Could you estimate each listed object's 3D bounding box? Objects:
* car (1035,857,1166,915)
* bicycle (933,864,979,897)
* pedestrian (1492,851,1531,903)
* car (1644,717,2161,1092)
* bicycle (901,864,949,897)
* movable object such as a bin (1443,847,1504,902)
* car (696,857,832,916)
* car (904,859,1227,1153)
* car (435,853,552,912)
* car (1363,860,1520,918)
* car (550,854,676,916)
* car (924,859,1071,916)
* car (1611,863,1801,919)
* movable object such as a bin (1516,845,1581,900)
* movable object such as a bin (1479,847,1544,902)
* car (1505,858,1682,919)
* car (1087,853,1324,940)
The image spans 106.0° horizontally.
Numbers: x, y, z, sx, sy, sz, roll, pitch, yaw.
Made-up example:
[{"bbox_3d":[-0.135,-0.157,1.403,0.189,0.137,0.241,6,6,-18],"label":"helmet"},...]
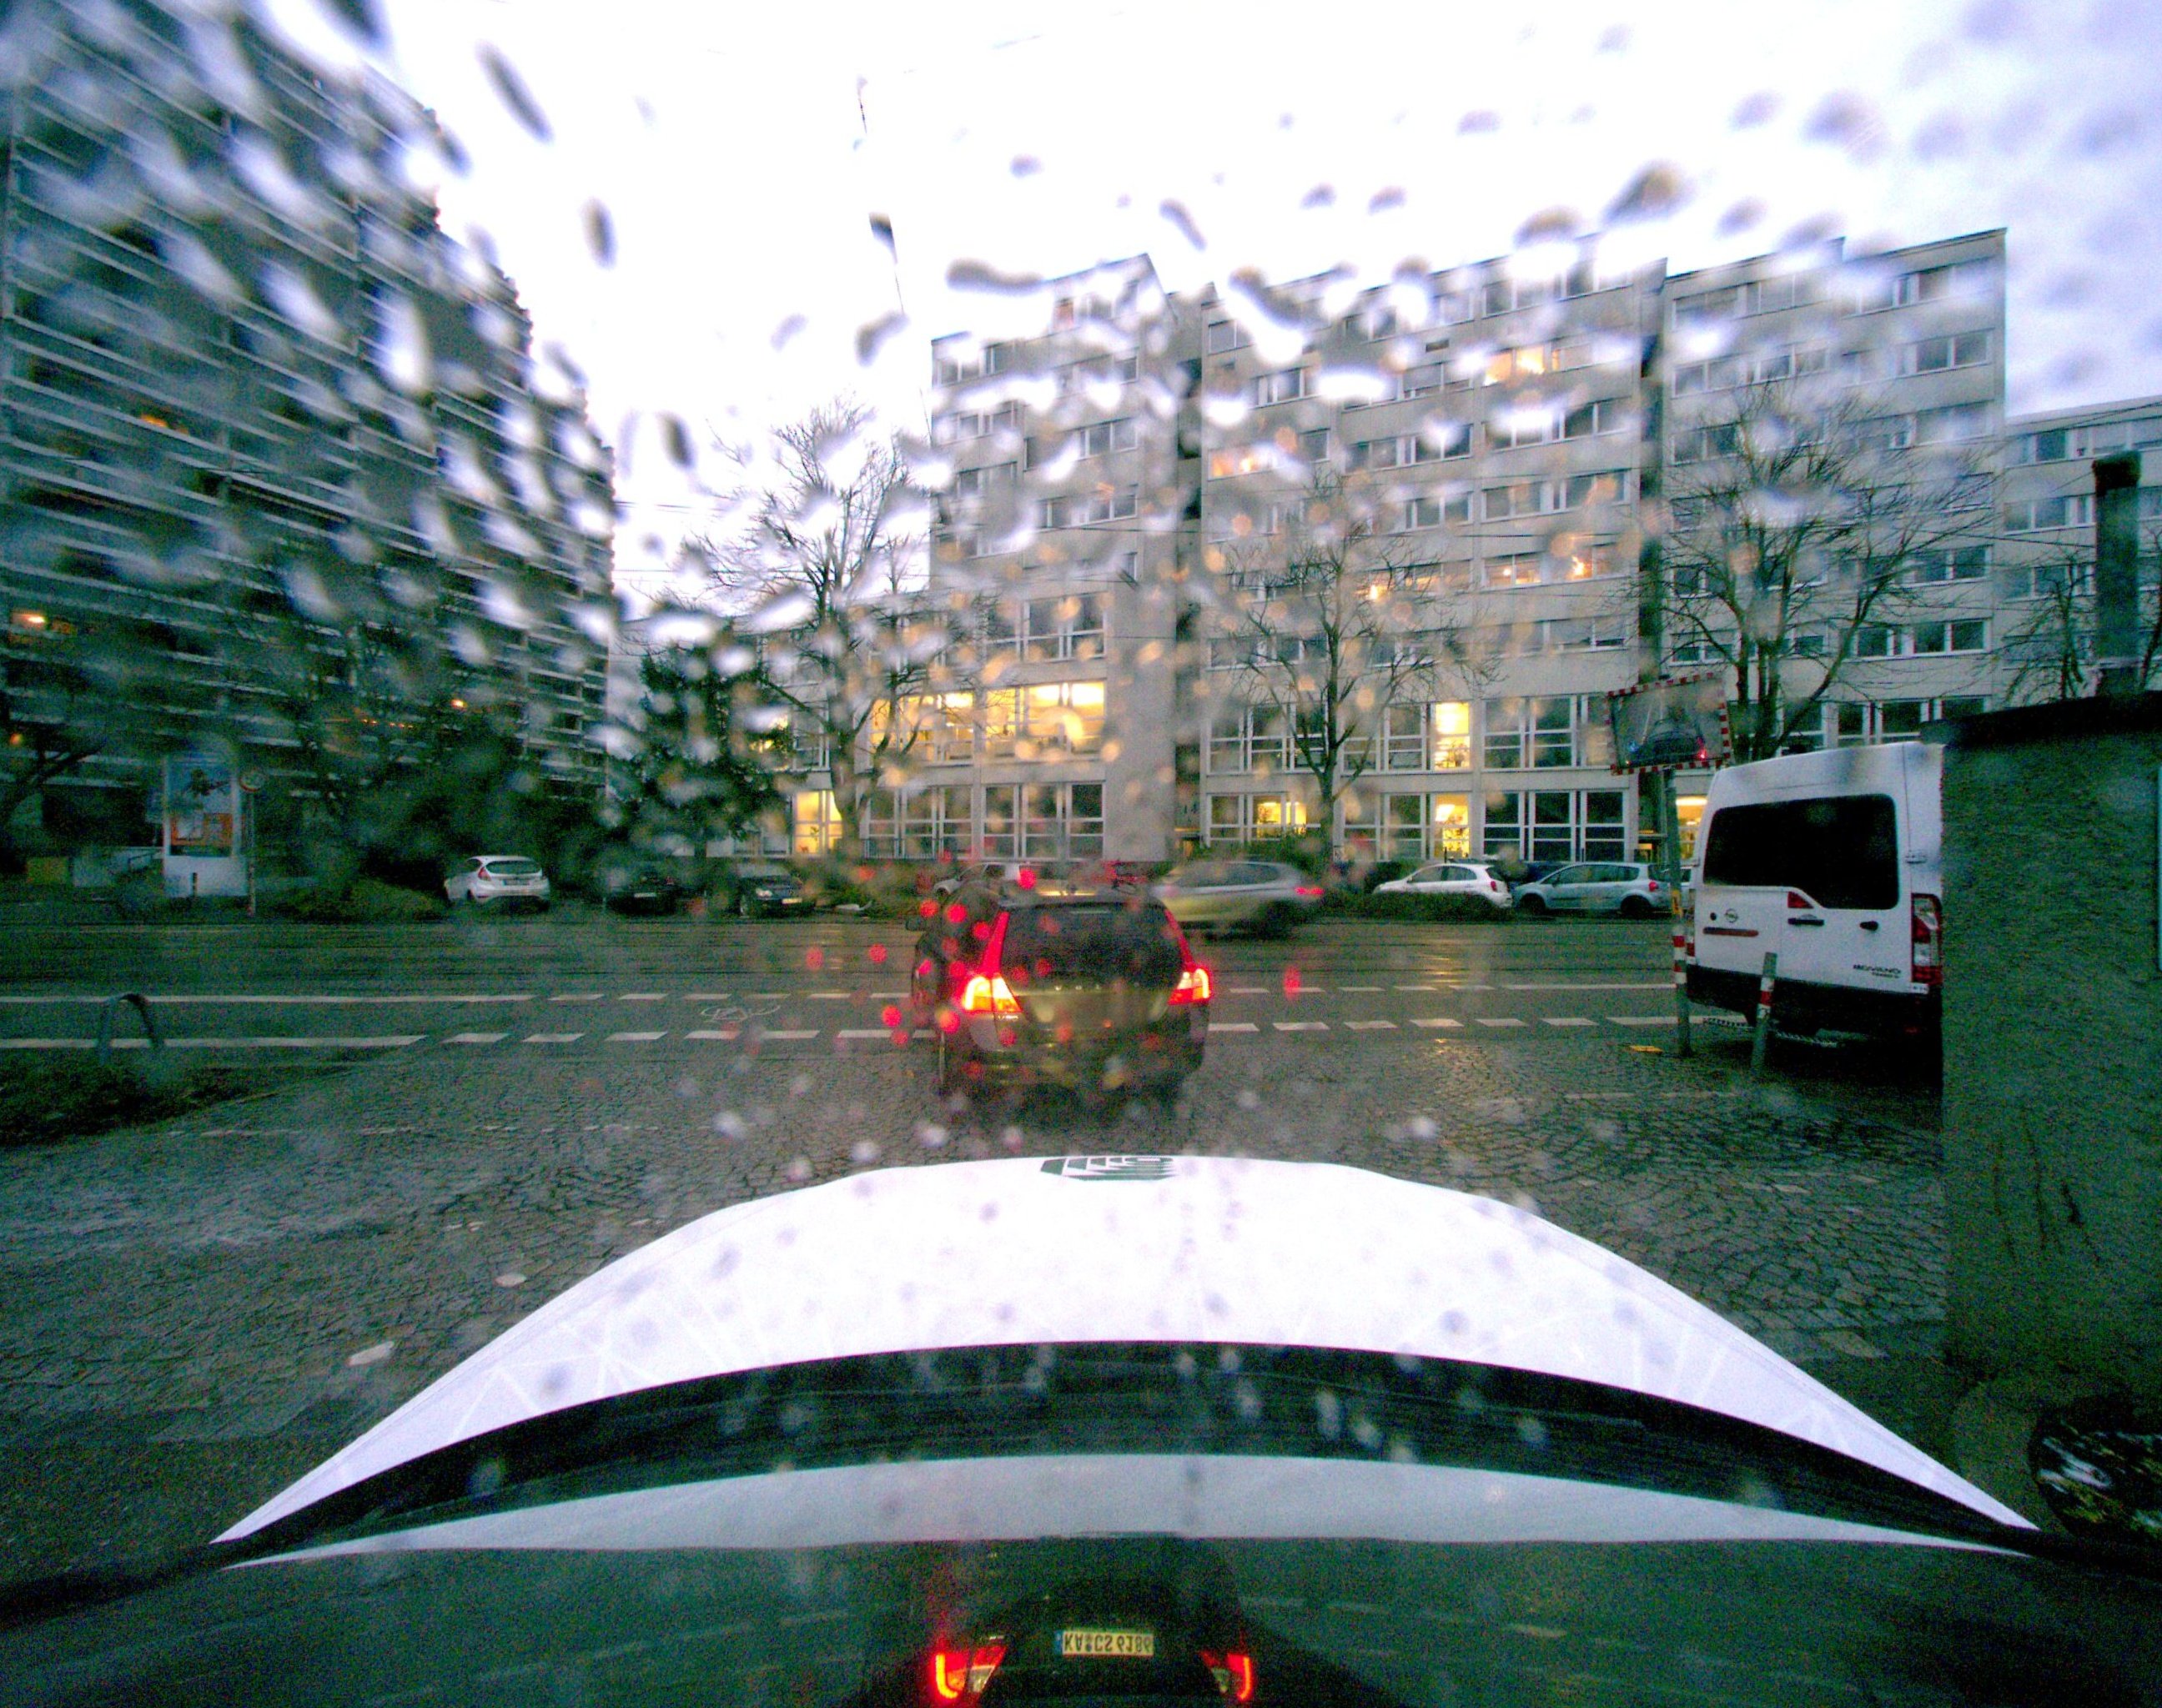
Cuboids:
[{"bbox_3d":[0.501,0.848,22.787,3.408,1.493,1.740,-1,-1,45],"label":"car"},{"bbox_3d":[-4.357,0.916,28.634,0.635,1.120,2.216,-1,-1,19],"label":"bicycle"},{"bbox_3d":[14.258,0.756,26.982,0.968,1.677,0.598,0,-1,-4],"label":"pedestrian"},{"bbox_3d":[8.028,0.388,6.785,5.414,2.487,2.126,0,-2,-7],"label":"car"},{"bbox_3d":[-5.532,0.926,28.985,0.635,1.120,2.216,-1,-1,19],"label":"bicycle"},{"bbox_3d":[13.780,0.705,28.636,1.310,1.860,1.573,-1,-1,-2],"label":"movable object such as a bin"},{"bbox_3d":[-8.372,0.793,21.349,3.950,1.379,1.867,-1,-1,45],"label":"car"},{"bbox_3d":[-0.493,0.900,7.044,1.751,1.544,4.272,0,2,-16],"label":"car"},{"bbox_3d":[-15.523,0.706,21.457,3.950,1.400,1.867,-1,-1,45],"label":"car"},{"bbox_3d":[10.398,0.956,23.623,3.827,1.551,1.703,-1,-1,42],"label":"car"},{"bbox_3d":[-12.333,0.752,21.372,3.950,1.462,1.867,-1,-1,45],"label":"car"},{"bbox_3d":[-2.360,0.866,22.406,3.949,1.446,1.804,-1,-1,40],"label":"car"},{"bbox_3d":[17.614,0.996,23.103,1.744,1.444,3.956,2,-2,-36],"label":"car"},{"bbox_3d":[16.511,0.649,28.801,1.310,1.860,1.573,-1,-1,-2],"label":"movable object such as a bin"},{"bbox_3d":[15.168,0.696,28.731,1.385,1.860,1.573,-1,-1,-3],"label":"movable object such as a bin"},{"bbox_3d":[14.493,0.926,23.163,3.950,1.563,1.747,-1,-1,45],"label":"car"},{"bbox_3d":[2.361,0.783,16.057,4.357,1.579,1.709,0,-1,-5],"label":"car"}]
